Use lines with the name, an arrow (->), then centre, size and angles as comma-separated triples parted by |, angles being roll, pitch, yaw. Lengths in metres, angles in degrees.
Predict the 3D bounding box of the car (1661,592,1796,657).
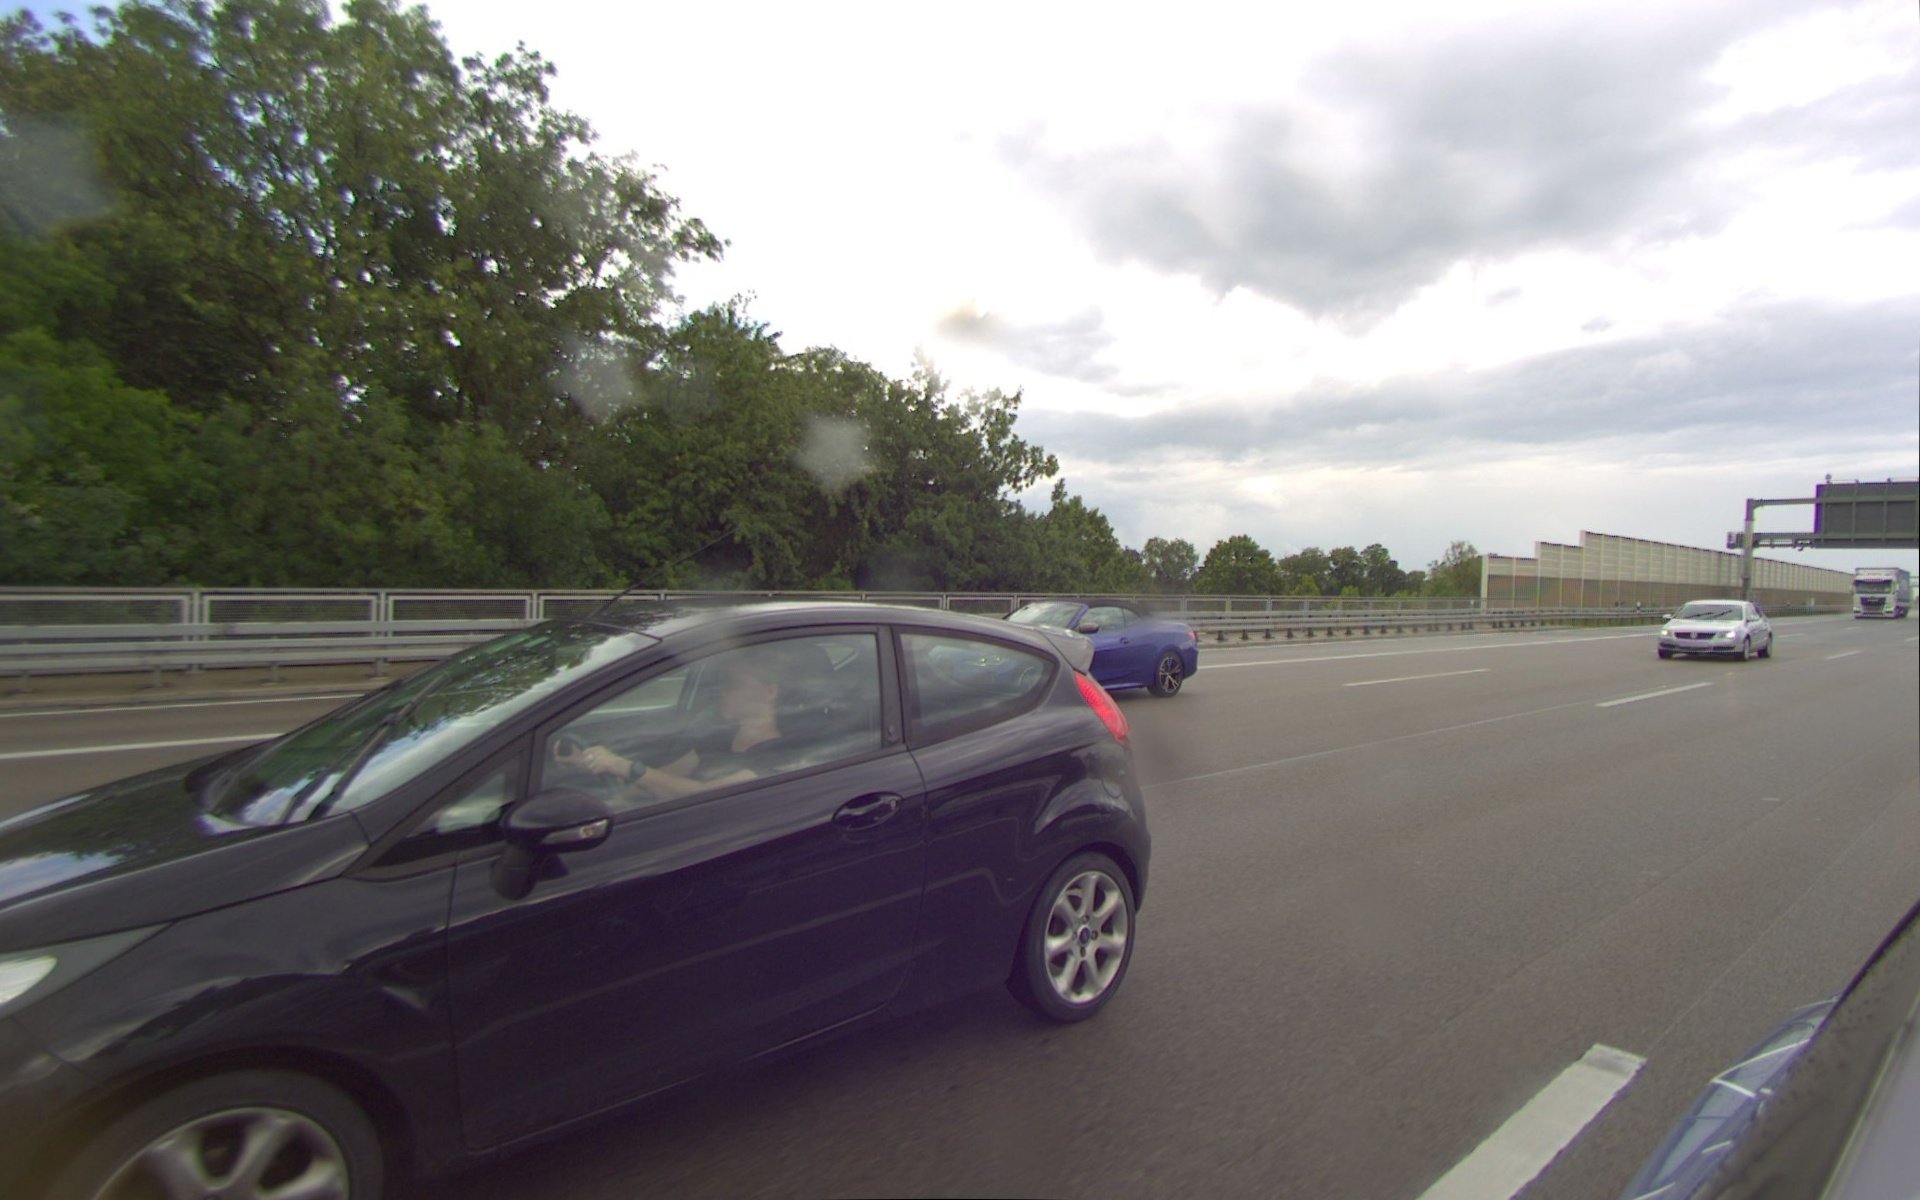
car -> 19.162, 0.553, 25.166 | 4.172, 1.465, 1.896 | 0, 1, -41

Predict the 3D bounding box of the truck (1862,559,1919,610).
truck -> 77.010, -1.253, 83.246 | 12.108, 3.956, 3.249 | 0, 0, -43

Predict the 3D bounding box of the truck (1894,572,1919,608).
truck -> 86.860, -0.886, 91.873 | 6.779, 3.106, 2.262 | 0, 1, -42

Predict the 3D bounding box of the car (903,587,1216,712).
car -> 1.525, 0.575, 14.163 | 4.508, 1.465, 1.780 | 0, 1, -41

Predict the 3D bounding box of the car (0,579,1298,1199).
car -> -0.698, 0.682, 3.509 | 4.330, 1.458, 1.666 | 0, 1, -42
